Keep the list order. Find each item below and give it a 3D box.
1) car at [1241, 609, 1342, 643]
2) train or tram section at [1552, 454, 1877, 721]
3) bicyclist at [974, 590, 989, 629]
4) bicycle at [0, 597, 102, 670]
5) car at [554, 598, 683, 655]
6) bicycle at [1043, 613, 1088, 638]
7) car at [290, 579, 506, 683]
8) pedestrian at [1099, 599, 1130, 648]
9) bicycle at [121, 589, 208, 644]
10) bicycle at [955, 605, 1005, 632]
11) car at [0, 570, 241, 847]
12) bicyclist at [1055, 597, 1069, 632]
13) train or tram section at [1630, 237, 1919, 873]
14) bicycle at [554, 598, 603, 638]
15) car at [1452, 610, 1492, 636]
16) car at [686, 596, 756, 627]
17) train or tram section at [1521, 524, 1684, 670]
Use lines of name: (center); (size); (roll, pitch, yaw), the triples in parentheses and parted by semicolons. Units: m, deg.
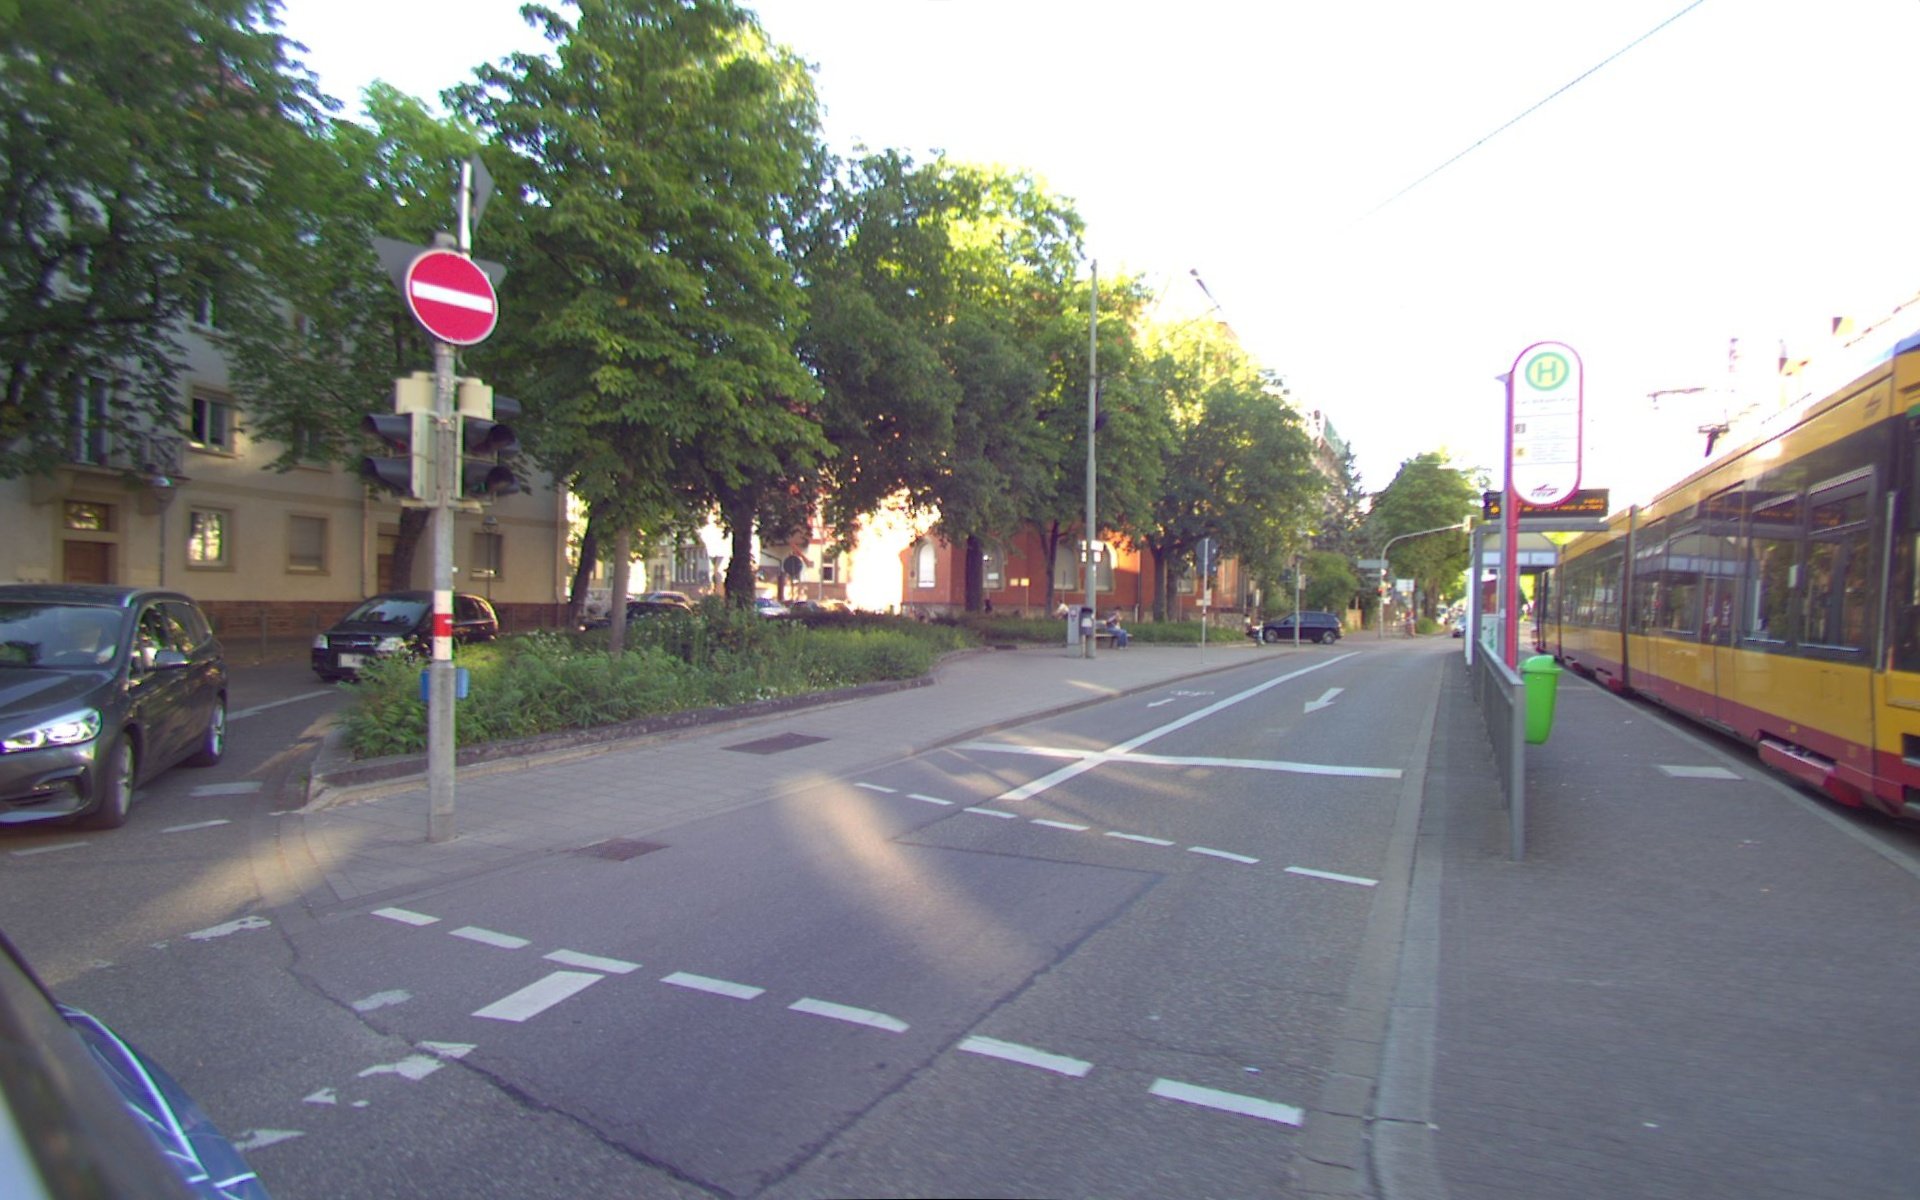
car: (15.025, 1.162, 46.080); (3.947, 1.454, 1.976); (1, 0, 3)
train or tram section: (13.807, -0.135, 19.842); (2.772, 3.614, 12.311); (0, 0, 26)
bicyclist: (0.899, 0.407, 41.574); (0.496, 1.585, 0.493); (1, 0, 12)
bicycle: (-14.997, 0.518, 16.549); (0.506, 1.104, 1.978); (3, 0, -11)
car: (-9.317, 0.691, 27.937); (1.664, 1.419, 3.672); (2, 0, 13)
bicycle: (4.777, 1.166, 45.878); (1.959, 1.065, 0.636); (1, 0, 10)
car: (-10.039, 0.511, 18.425); (1.659, 1.640, 3.683); (2, 0, 4)
pedestrian: (4.630, 0.690, 30.333); (0.708, 1.454, 0.593); (1, 0, 33)
bicycle: (-17.221, 0.349, 21.967); (0.789, 1.127, 1.863); (1, 0, -15)
bicycle: (0.827, 0.767, 41.602); (1.960, 1.065, 0.636); (1, 0, 11)
car: (-6.872, 0.581, 7.526); (1.763, 1.590, 4.275); (2, 0, -26)
bicyclist: (4.621, 0.658, 45.908); (0.549, 1.585, 0.596); (1, 0, 9)
train or tram section: (8.600, -0.221, 9.018); (2.786, 3.647, 11.697); (0, 0, 26)
bicycle: (-13.000, 0.602, 34.546); (0.759, 1.314, 1.899); (1, 0, 7)
car: (30.420, 1.346, 60.069); (1.732, 1.428, 3.955); (1, 0, 33)
car: (-12.747, 0.602, 53.827); (1.778, 1.564, 4.190); (2, -1, -43)
train or tram section: (19.214, -0.038, 31.063); (2.759, 3.584, 12.570); (0, 0, 26)
